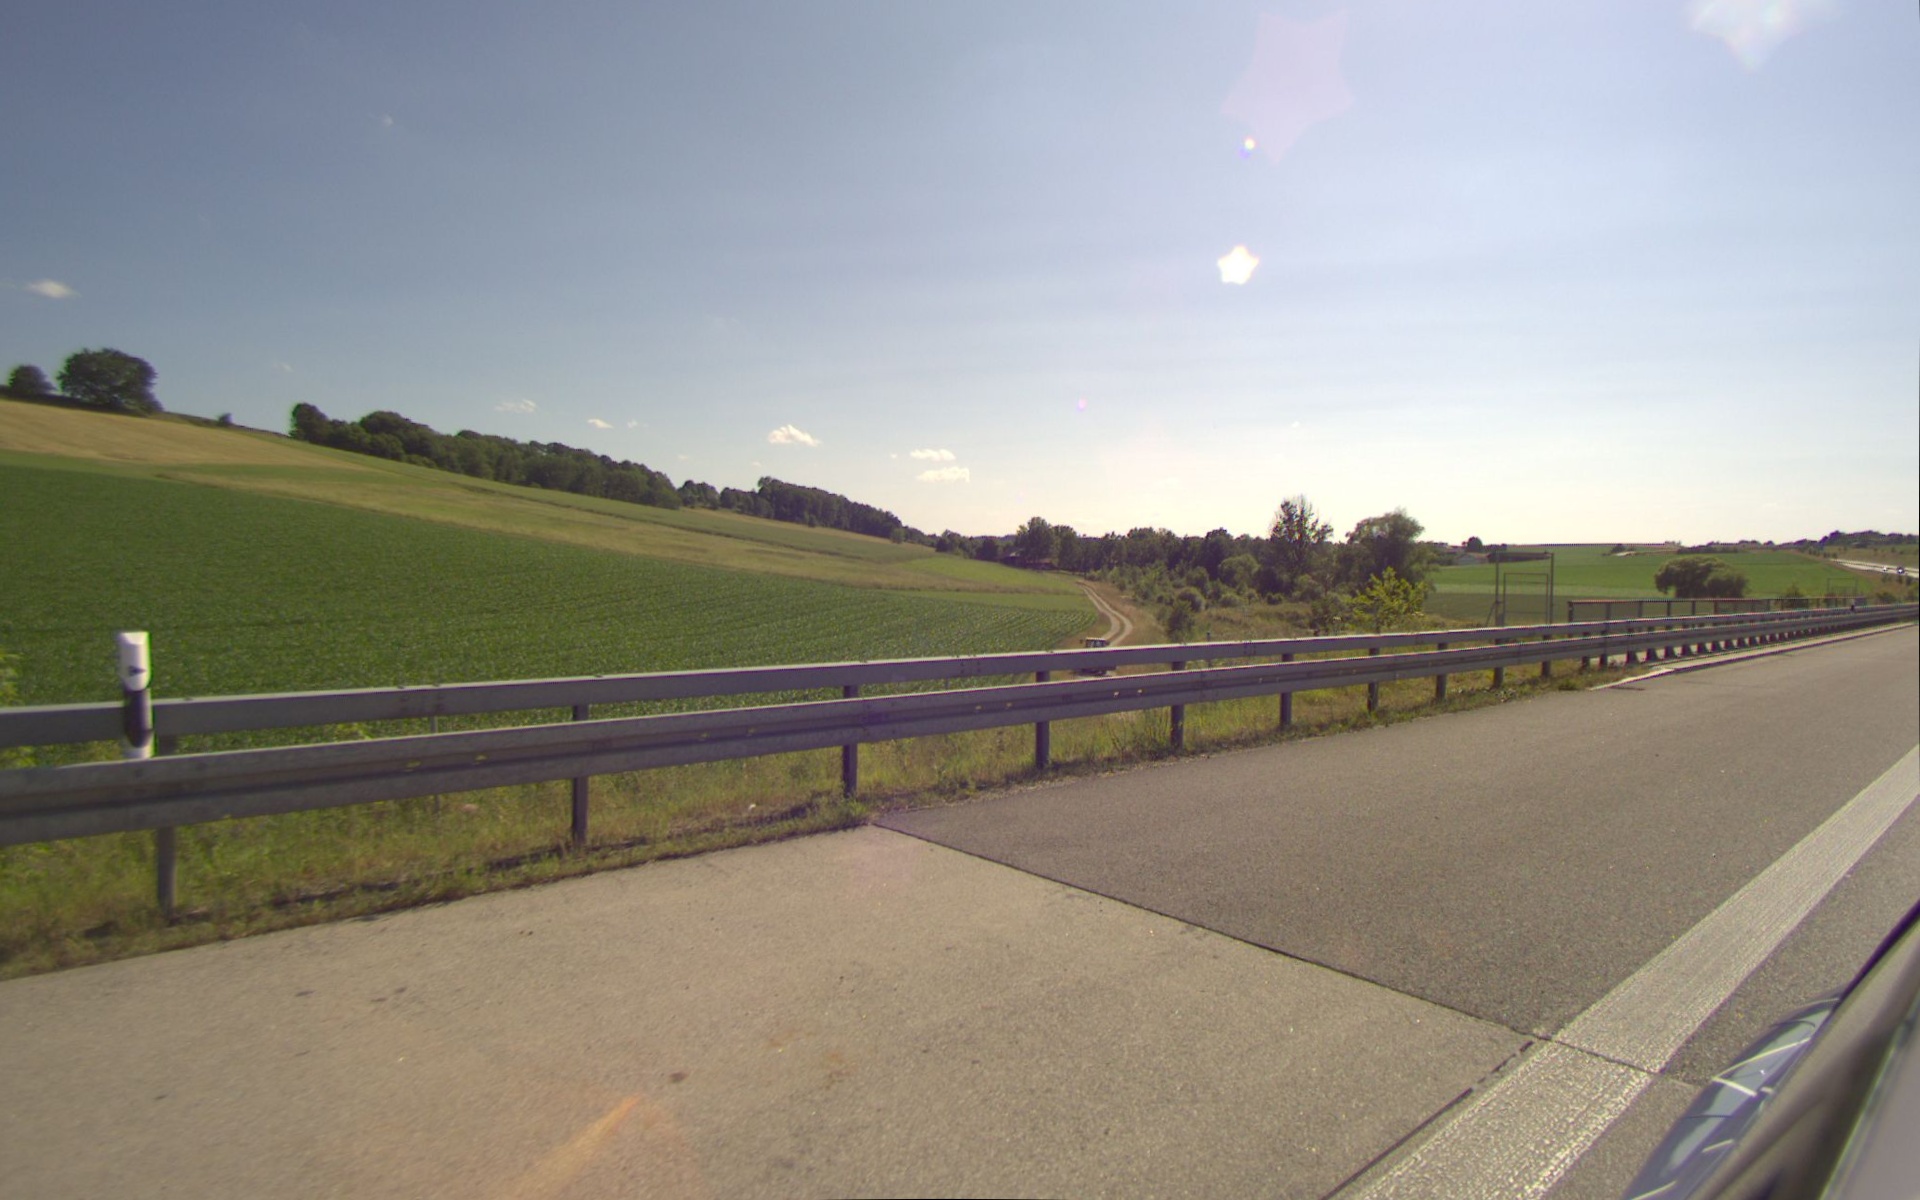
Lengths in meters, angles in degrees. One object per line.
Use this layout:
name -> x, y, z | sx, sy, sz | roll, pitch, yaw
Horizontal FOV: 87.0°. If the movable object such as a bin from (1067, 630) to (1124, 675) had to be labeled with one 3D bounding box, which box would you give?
movable object such as a bin -> 10.246, 3.950, 77.362 | 3.223, 2.805, 6.236 | -1, 1, -2
